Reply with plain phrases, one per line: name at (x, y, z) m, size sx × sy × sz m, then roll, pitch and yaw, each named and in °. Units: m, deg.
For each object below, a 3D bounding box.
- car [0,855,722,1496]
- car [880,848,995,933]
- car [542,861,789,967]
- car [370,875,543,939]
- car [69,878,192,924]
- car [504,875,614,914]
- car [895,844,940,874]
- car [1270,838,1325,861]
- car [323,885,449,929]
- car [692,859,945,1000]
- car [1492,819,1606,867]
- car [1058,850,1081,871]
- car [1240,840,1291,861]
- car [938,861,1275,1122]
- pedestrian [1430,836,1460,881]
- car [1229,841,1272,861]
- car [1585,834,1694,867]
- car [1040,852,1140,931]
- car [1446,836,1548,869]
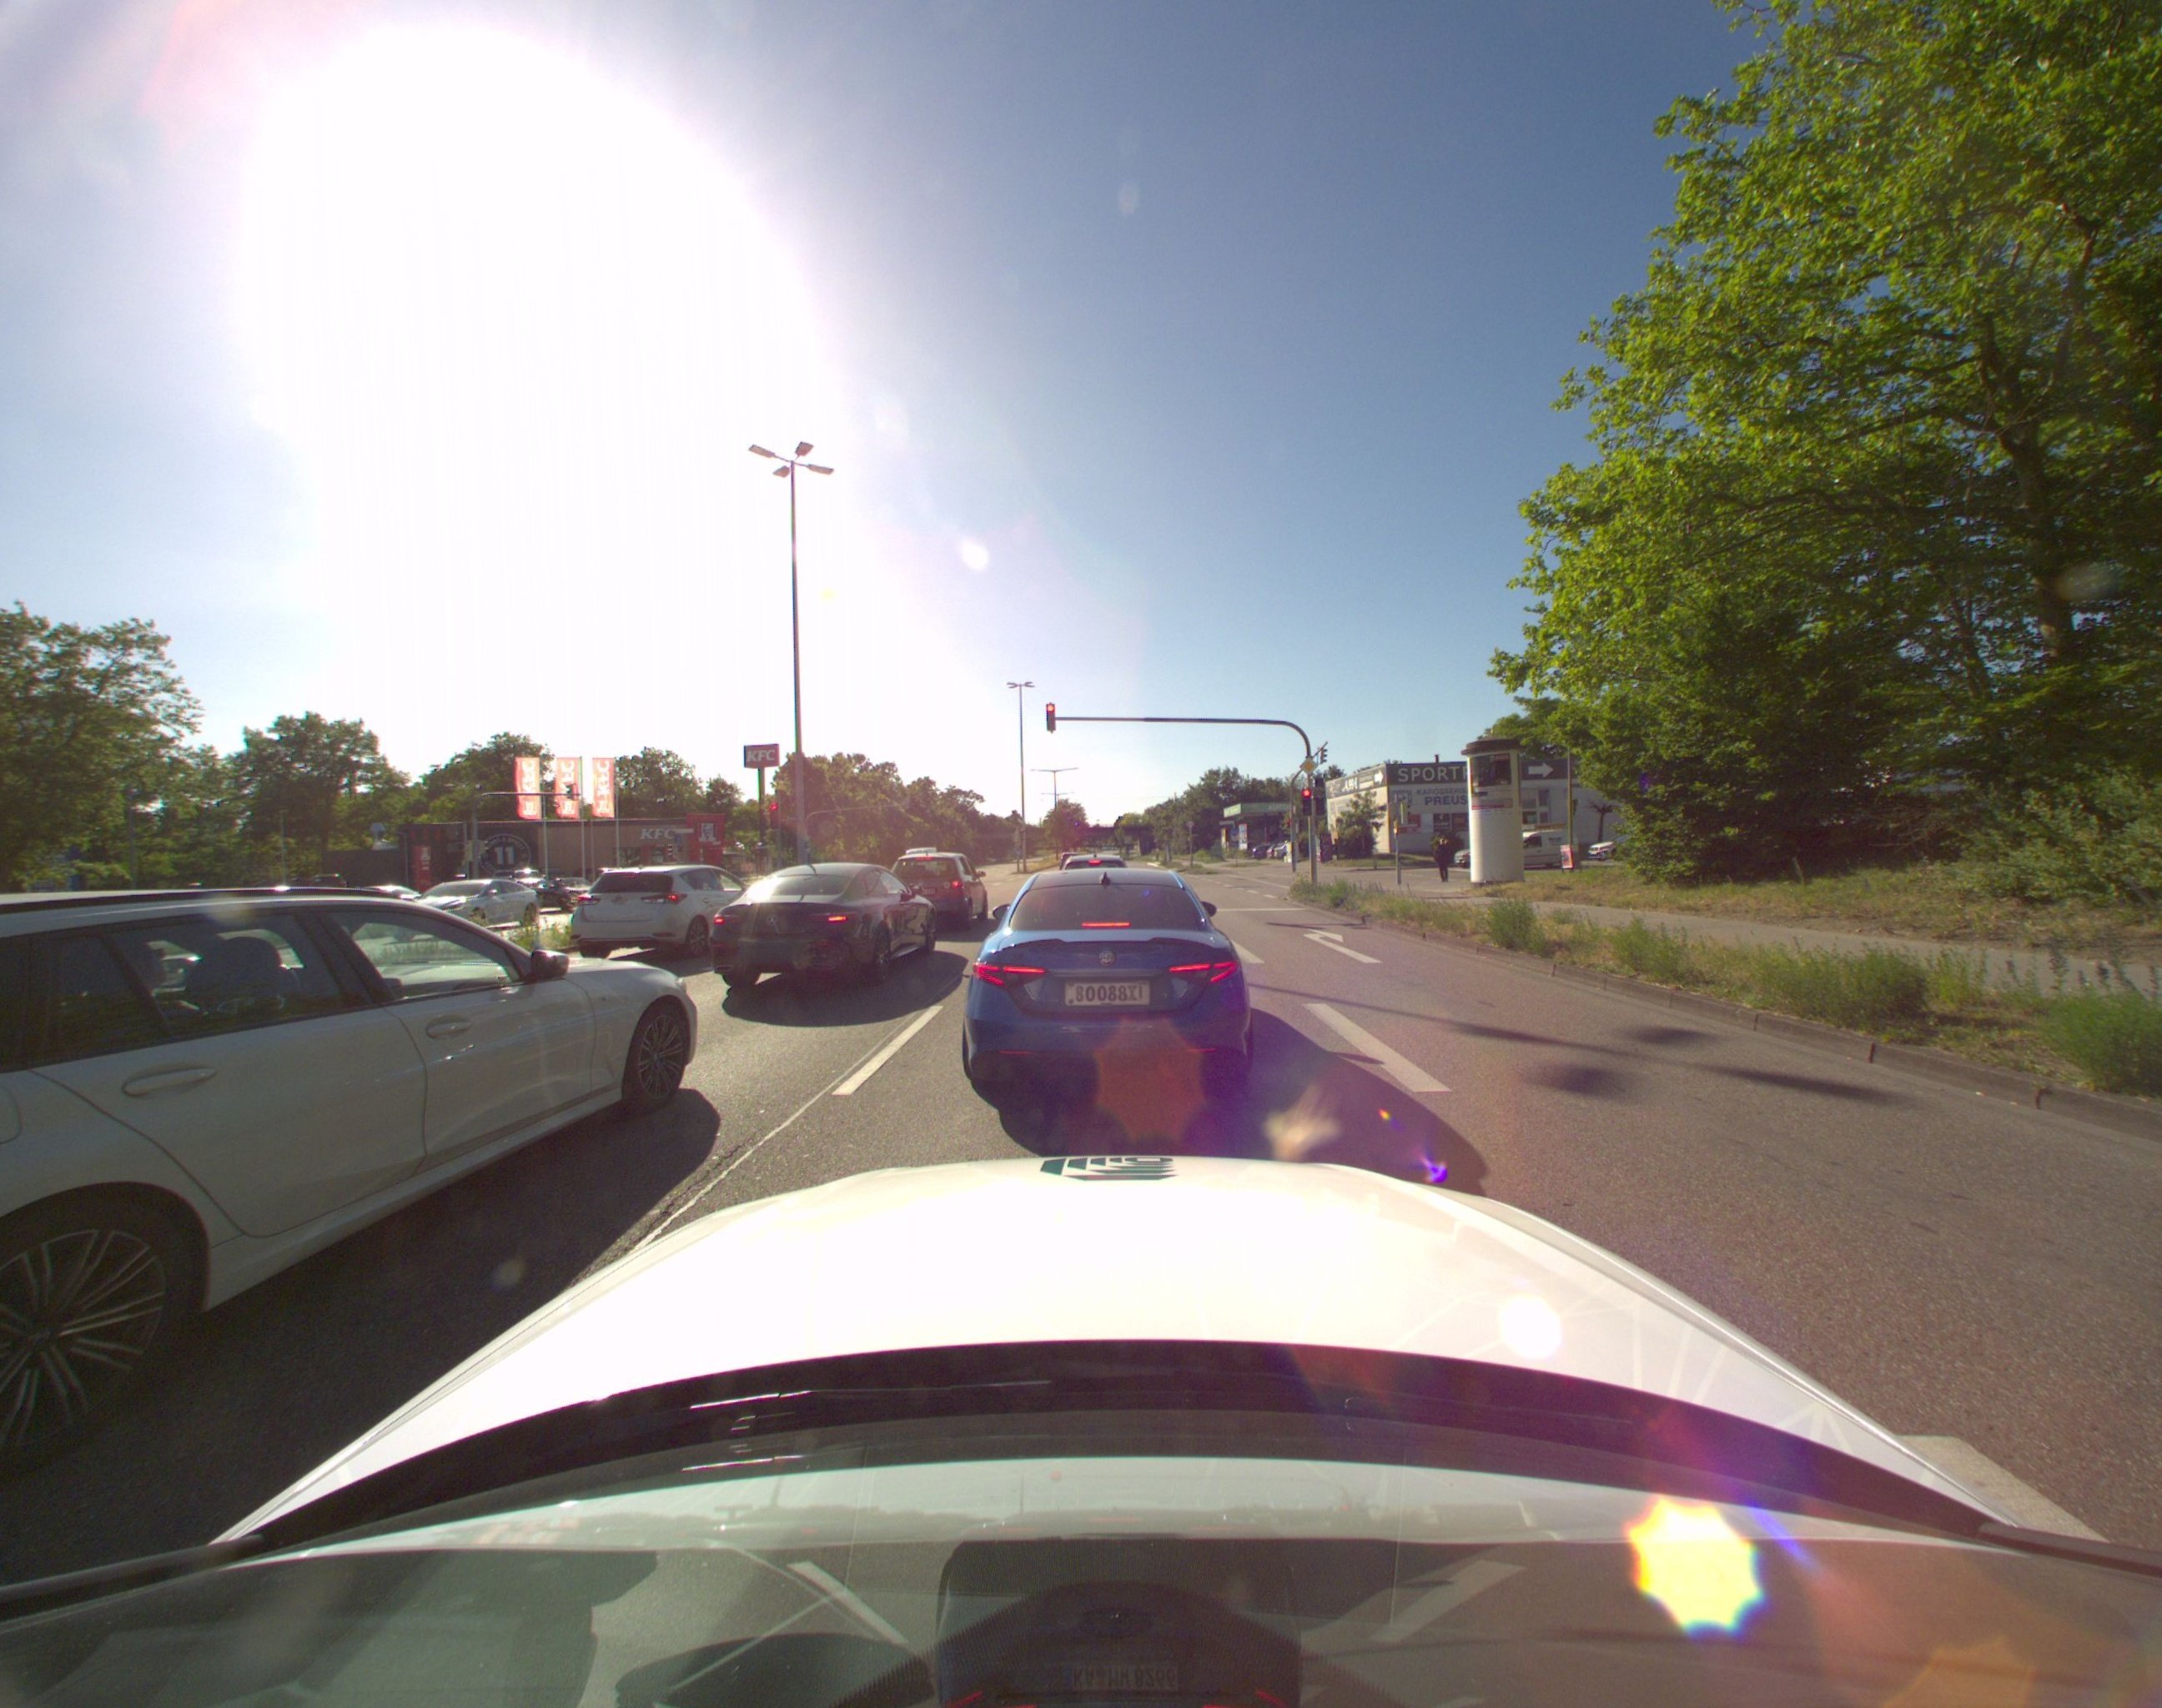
car at (-3.432, 0.794, 3.361) m, size 1.762 × 1.509 × 4.463 m, roll -1°, pitch 0°, yaw 2°
car at (-2.982, 0.696, 17.736) m, size 1.642 × 1.598 × 3.933 m, roll -1°, pitch 0°, yaw 2°
car at (-6.834, 0.894, 14.037) m, size 1.850 × 1.429 × 4.405 m, roll -1°, pitch 0°, yaw 2°
car at (-17.259, 1.385, 22.867) m, size 1.858 × 1.429 × 4.719 m, roll -1°, pitch 0°, yaw -10°
car at (-45.424, 2.227, 38.957) m, size 3.962 × 2.013 × 2.006 m, roll -1°, pitch 0°, yaw 10°
car at (-23.084, 1.780, 35.999) m, size 4.677 × 1.544 × 1.874 m, roll -1°, pitch 0°, yaw 25°
car at (-13.828, 0.398, 69.322) m, size 2.422 × 2.427 × 5.833 m, roll -1°, pitch 0°, yaw 2°
car at (17.513, -0.361, 65.865) m, size 3.993 × 1.706 × 1.687 m, roll -2°, pitch 0°, yaw -15°
car at (-32.457, 2.451, 38.087) m, size 4.255 × 1.845 × 2.003 m, roll -2°, pitch 0°, yaw 5°
car at (-3.144, 0.810, 10.834) m, size 1.762 × 1.414 × 4.463 m, roll -1°, pitch 0°, yaw 2°
car at (22.632, -0.524, 39.464) m, size 4.393 × 2.145 × 1.999 m, roll -1°, pitch 0°, yaw -2°
car at (-0.894, 0.503, 66.766) m, size 1.813 × 1.595 × 4.050 m, roll -1°, pitch 0°, yaw 0°
car at (16.044, -0.291, 70.759) m, size 3.997 × 1.706 × 1.685 m, roll -1°, pitch 0°, yaw -18°
car at (0.200, 0.784, 6.518) m, size 1.859 × 1.385 × 3.933 m, roll -1°, pitch 0°, yaw 2°
pedestrian at (14.204, 0.179, 31.784) m, size 0.818 × 1.721 × 0.856 m, roll -2°, pitch 0°, yaw 9°
car at (15.387, -0.255, 73.968) m, size 3.489 × 1.706 × 1.687 m, roll -1°, pitch 0°, yaw -14°
car at (29.289, -0.174, 42.775) m, size 4.393 × 1.553 × 1.999 m, roll -1°, pitch 0°, yaw -2°
car at (0.231, 0.699, 17.197) m, size 1.859 × 1.450 × 3.933 m, roll -1°, pitch 0°, yaw 2°
car at (21.954, -0.083, 43.063) m, size 4.393 × 1.553 × 1.999 m, roll -1°, pitch 0°, yaw -2°
